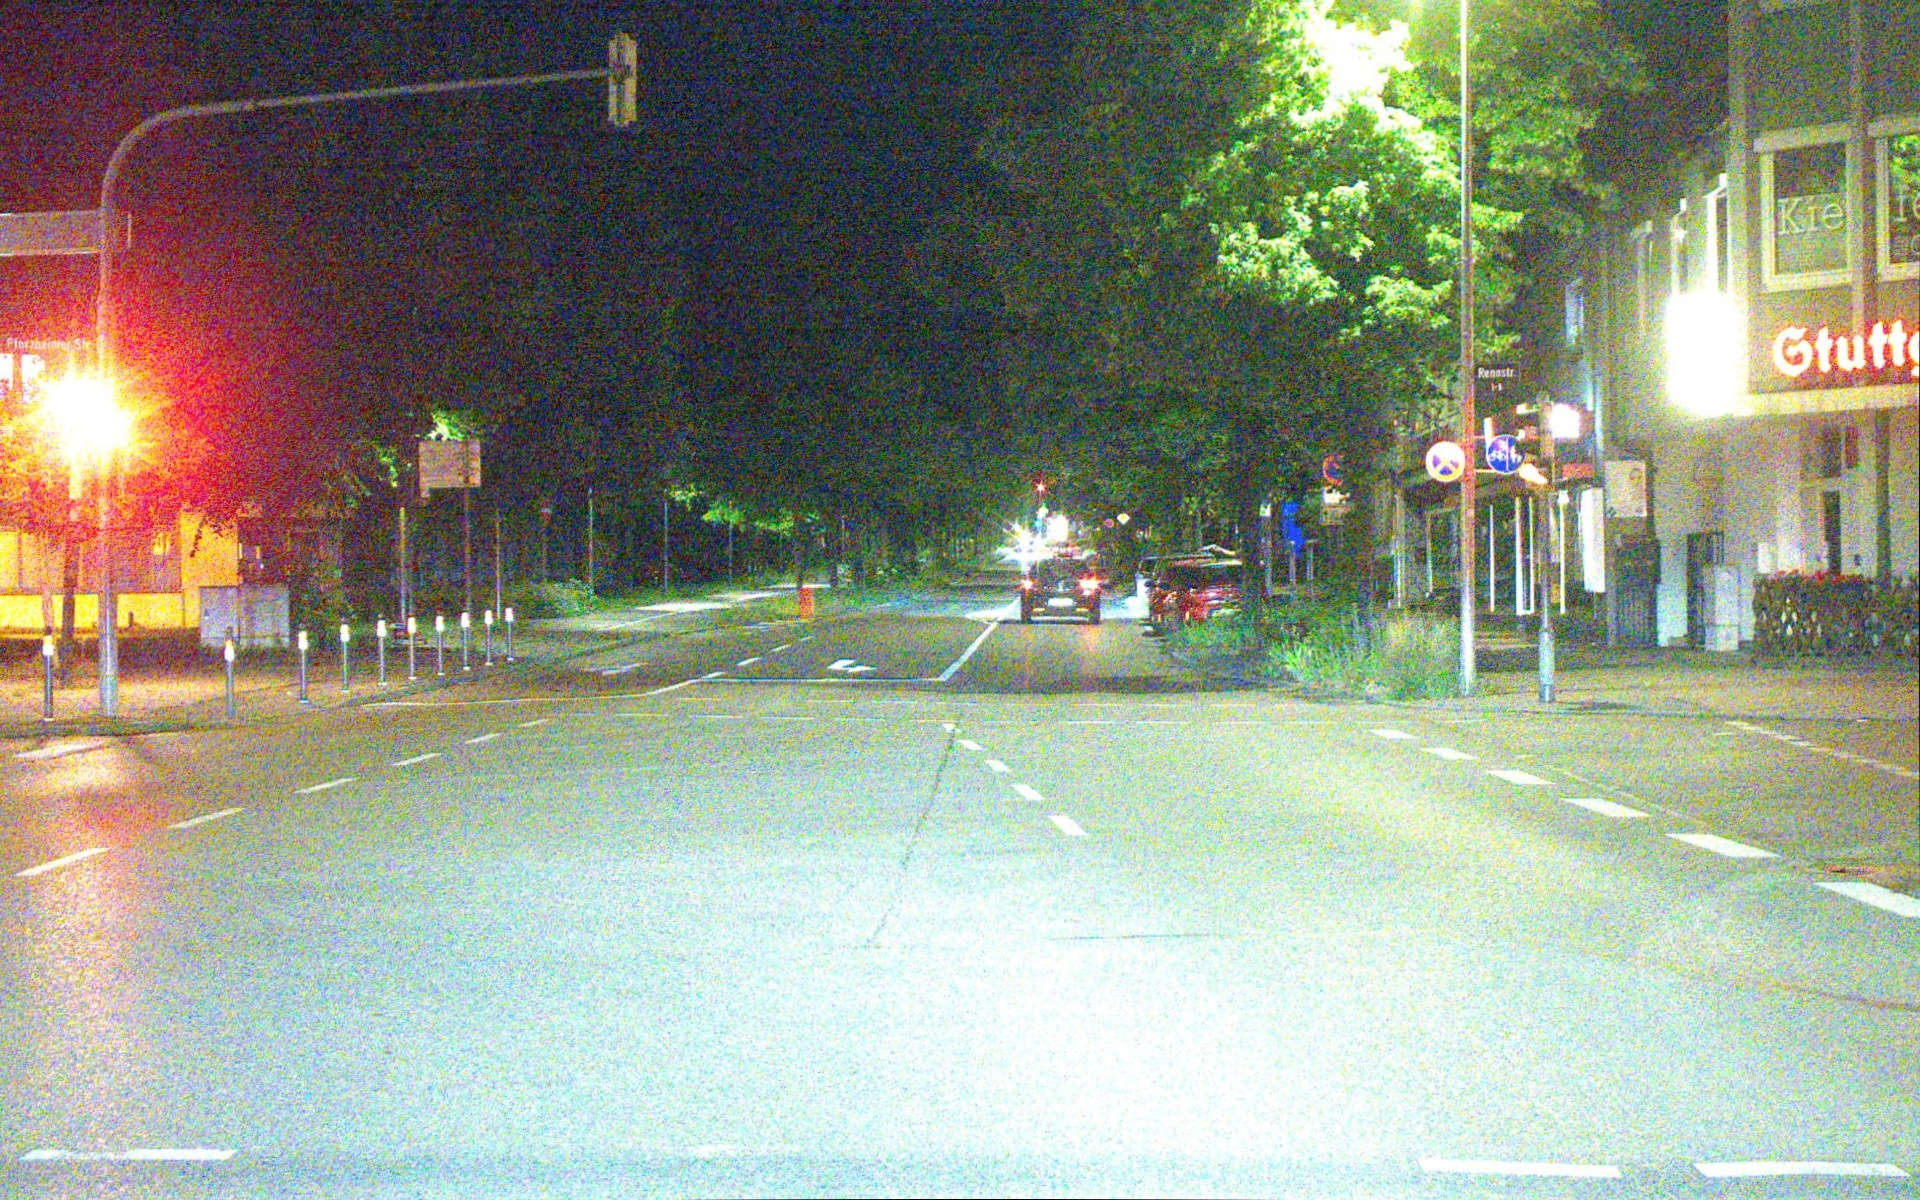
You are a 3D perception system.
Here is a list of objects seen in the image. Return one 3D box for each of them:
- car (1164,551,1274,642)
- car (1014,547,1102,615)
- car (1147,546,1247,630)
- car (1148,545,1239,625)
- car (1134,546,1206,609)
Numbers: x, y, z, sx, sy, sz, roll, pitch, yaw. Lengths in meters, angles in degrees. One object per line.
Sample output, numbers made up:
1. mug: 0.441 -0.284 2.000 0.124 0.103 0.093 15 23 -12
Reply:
1. car: 4.755 -0.079 63.528 1.876 1.610 4.000 0 1 2
2. car: 2.244 -0.437 77.705 1.874 1.449 4.316 1 1 3
3. car: 4.708 -0.259 68.800 1.876 1.610 4.000 0 1 2
4. car: 5.167 -0.339 76.470 1.876 1.723 4.000 0 1 2
5. car: 5.749 -0.631 94.501 1.876 1.678 4.000 0 1 2
